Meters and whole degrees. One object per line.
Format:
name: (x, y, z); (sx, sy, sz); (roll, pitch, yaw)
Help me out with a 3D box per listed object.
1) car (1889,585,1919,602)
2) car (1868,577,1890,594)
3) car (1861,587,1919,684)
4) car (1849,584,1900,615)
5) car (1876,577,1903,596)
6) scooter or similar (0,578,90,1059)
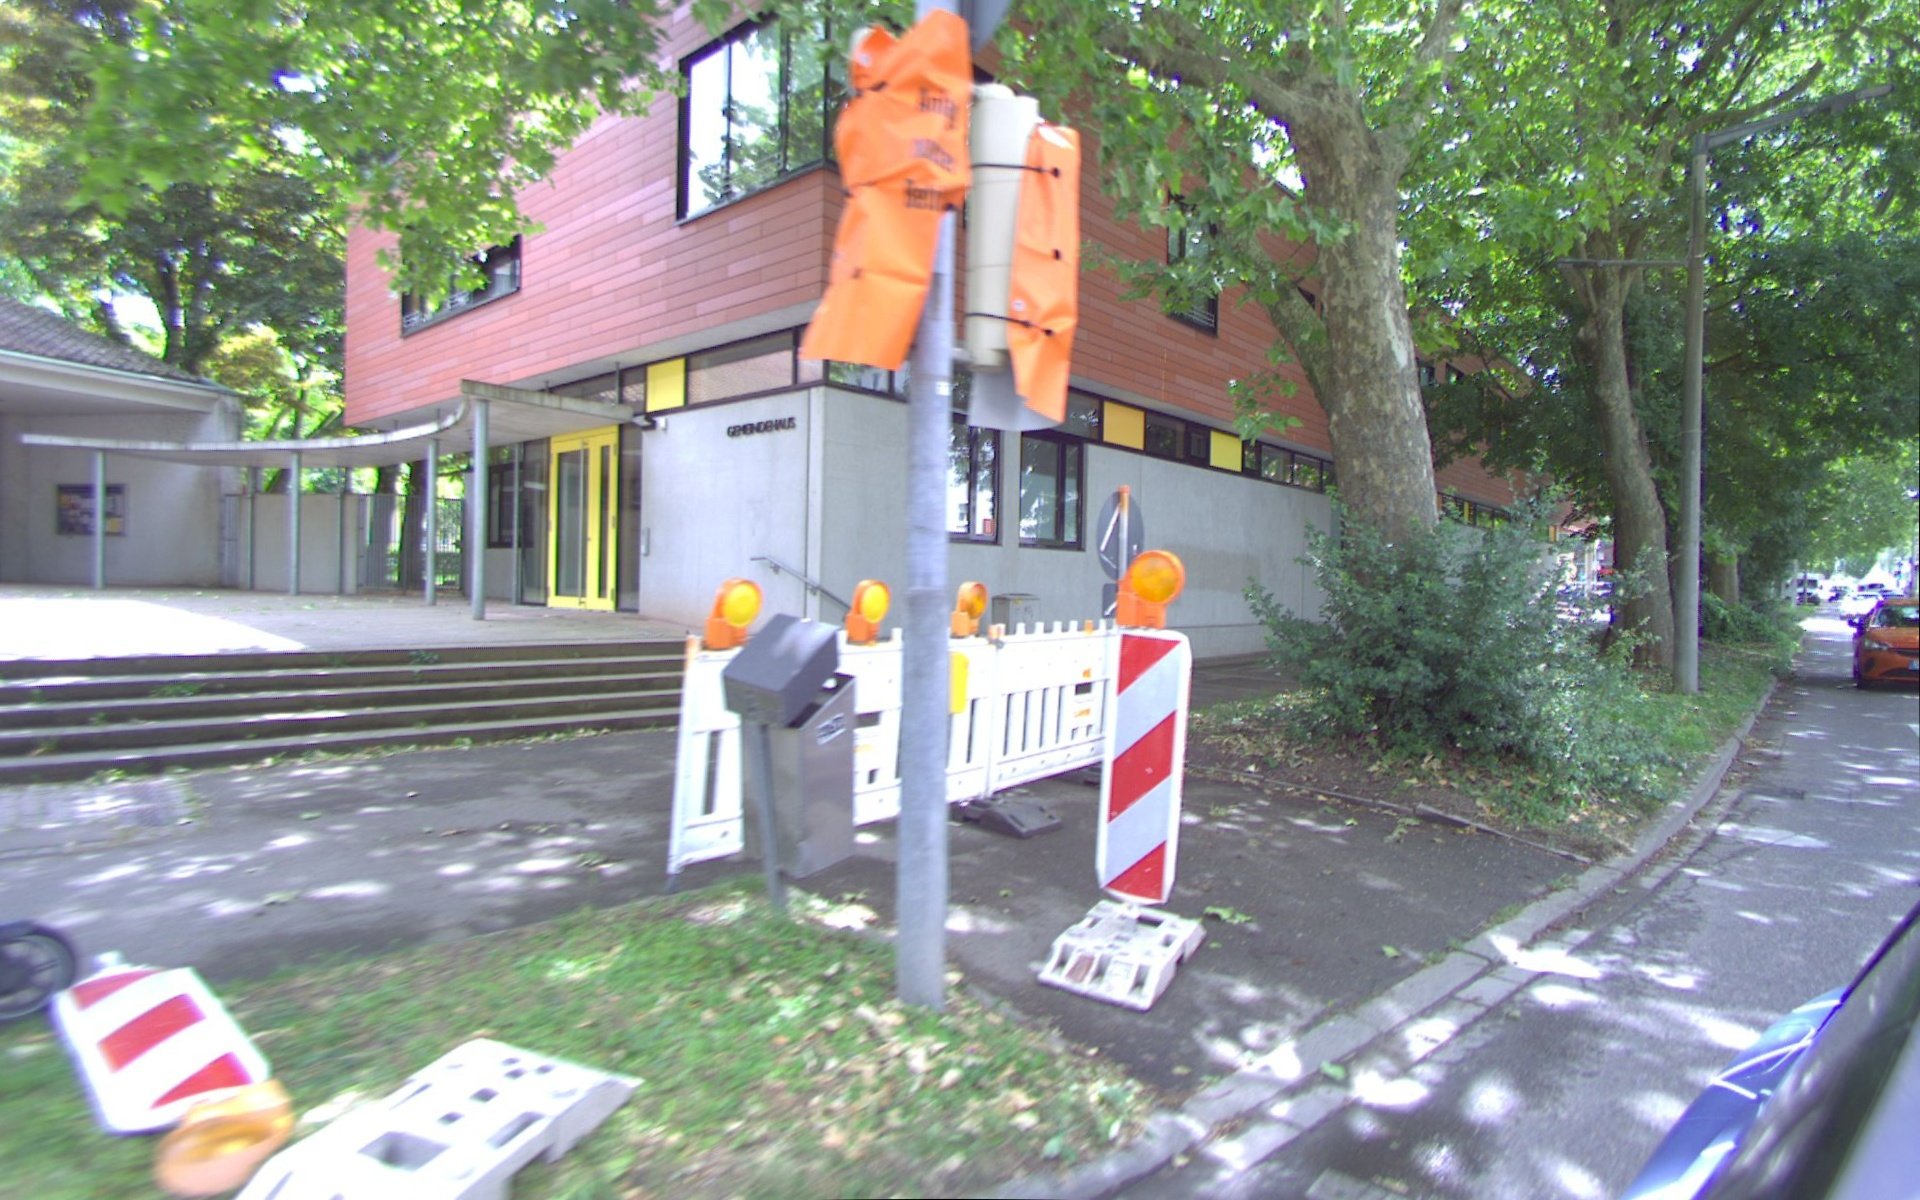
car: (76.124, -0.532, 81.308); (1.991, 1.371, 3.718); (2, 2, 40)
car: (115.661, -1.807, 127.394); (1.992, 2.039, 3.940); (0, 1, 42)
car: (15.769, 0.544, 16.373); (1.764, 1.452, 3.780); (0, 0, 42)
car: (44.125, -0.034, 48.829); (1.764, 1.431, 4.173); (0, 1, 42)
car: (94.919, -1.392, 103.342); (1.994, 1.838, 3.938); (3, 2, 43)
scooter or similar: (-3.054, 0.568, 2.602); (1.172, 1.247, 0.566); (0, 1, -34)
